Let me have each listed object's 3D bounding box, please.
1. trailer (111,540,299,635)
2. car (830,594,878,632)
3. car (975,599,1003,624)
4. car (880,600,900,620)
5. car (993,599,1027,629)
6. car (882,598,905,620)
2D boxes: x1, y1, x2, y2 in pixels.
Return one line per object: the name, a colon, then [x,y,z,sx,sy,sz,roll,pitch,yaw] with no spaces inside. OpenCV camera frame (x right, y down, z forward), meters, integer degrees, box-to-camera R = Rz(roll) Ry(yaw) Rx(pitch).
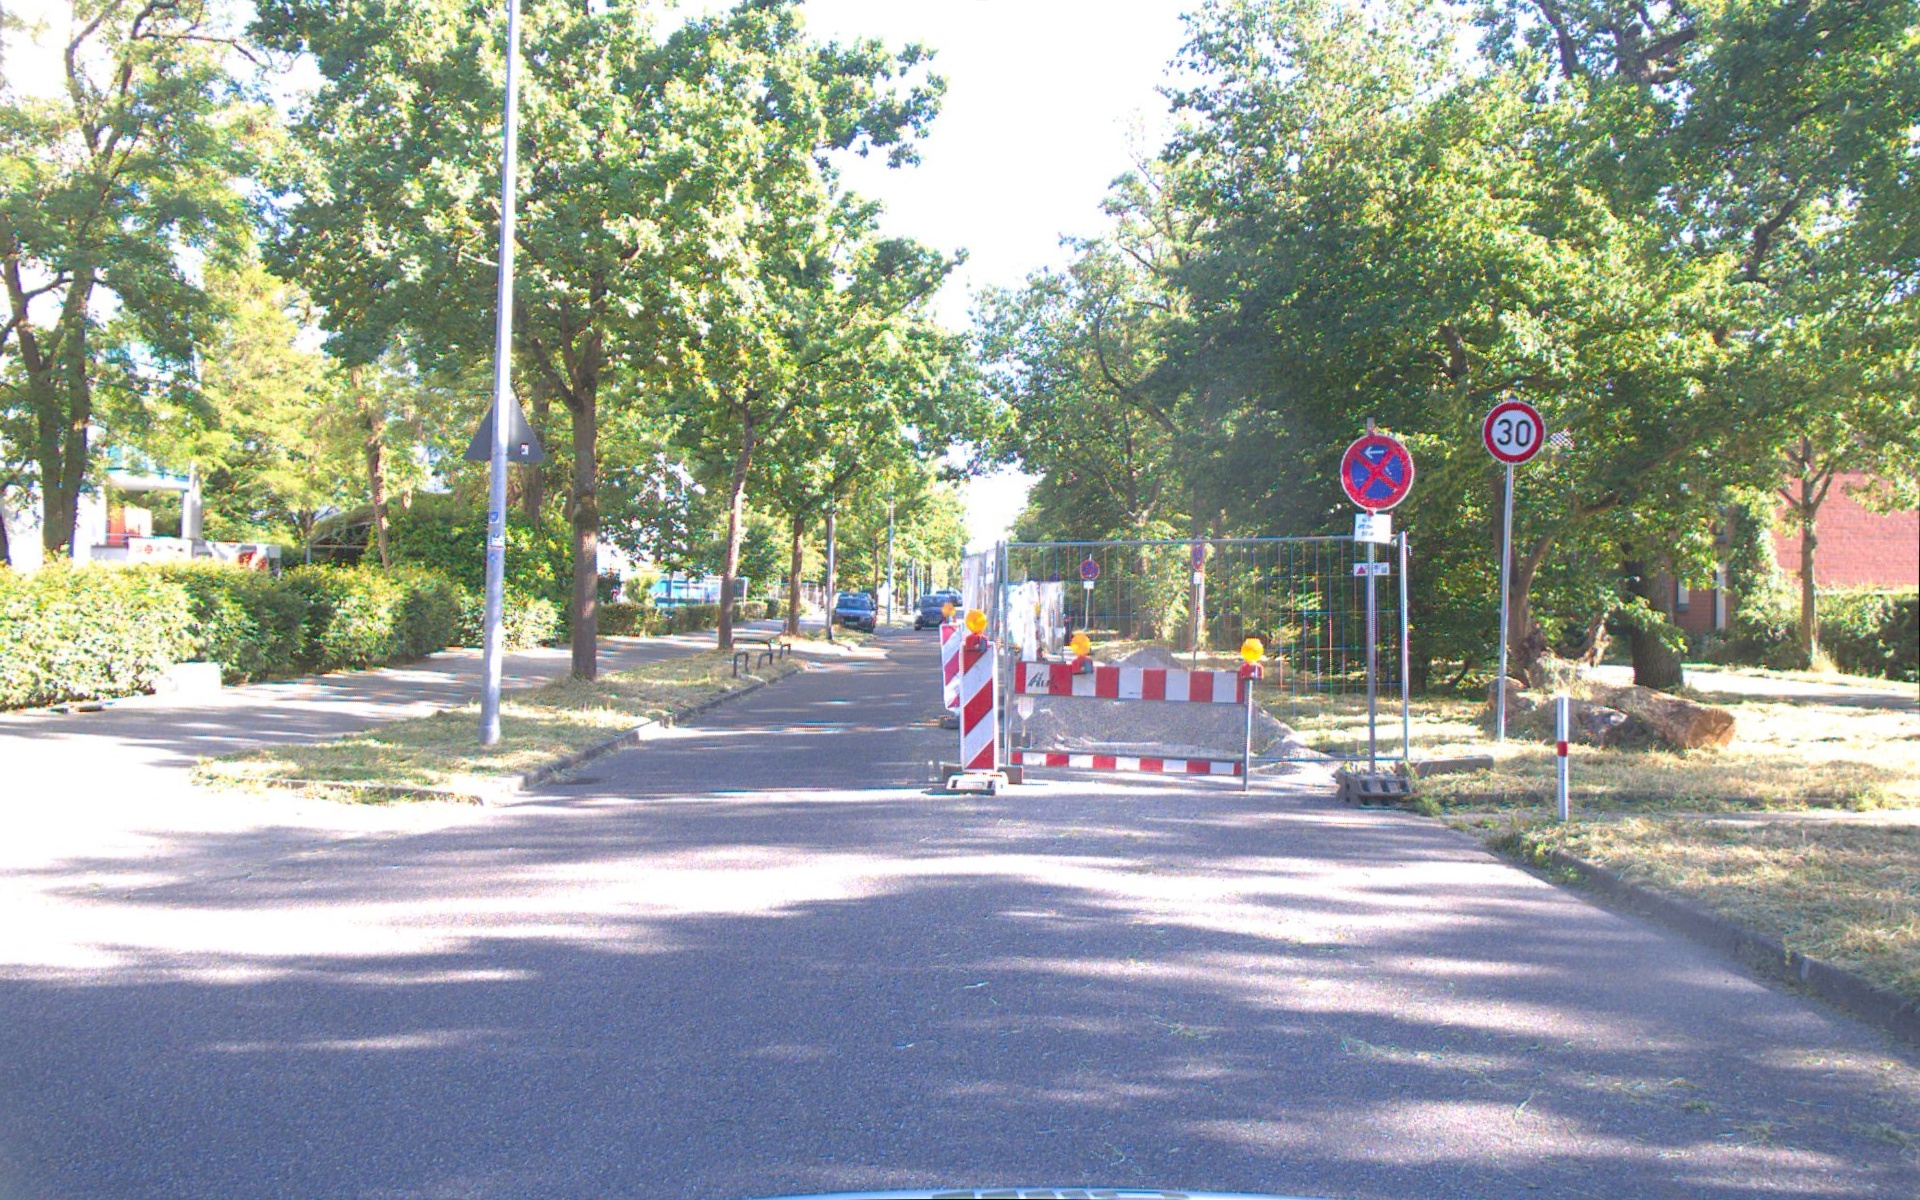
trailer: [-17.635,-0.283,38.872,1.934,2.078,4.433,1,0,7]
car: [-4.338,0.518,68.119,1.715,1.504,3.836,1,0,-1]
car: [1.603,0.639,90.828,1.334,1.325,3.480,2,-1,-2]
car: [-4.856,0.686,115.134,1.334,1.325,3.480,2,-1,-2]
car: [2.345,0.650,77.857,1.334,1.325,3.480,2,-1,-2]
car: [-4.155,0.568,103.403,1.334,1.325,3.480,2,-1,-2]
